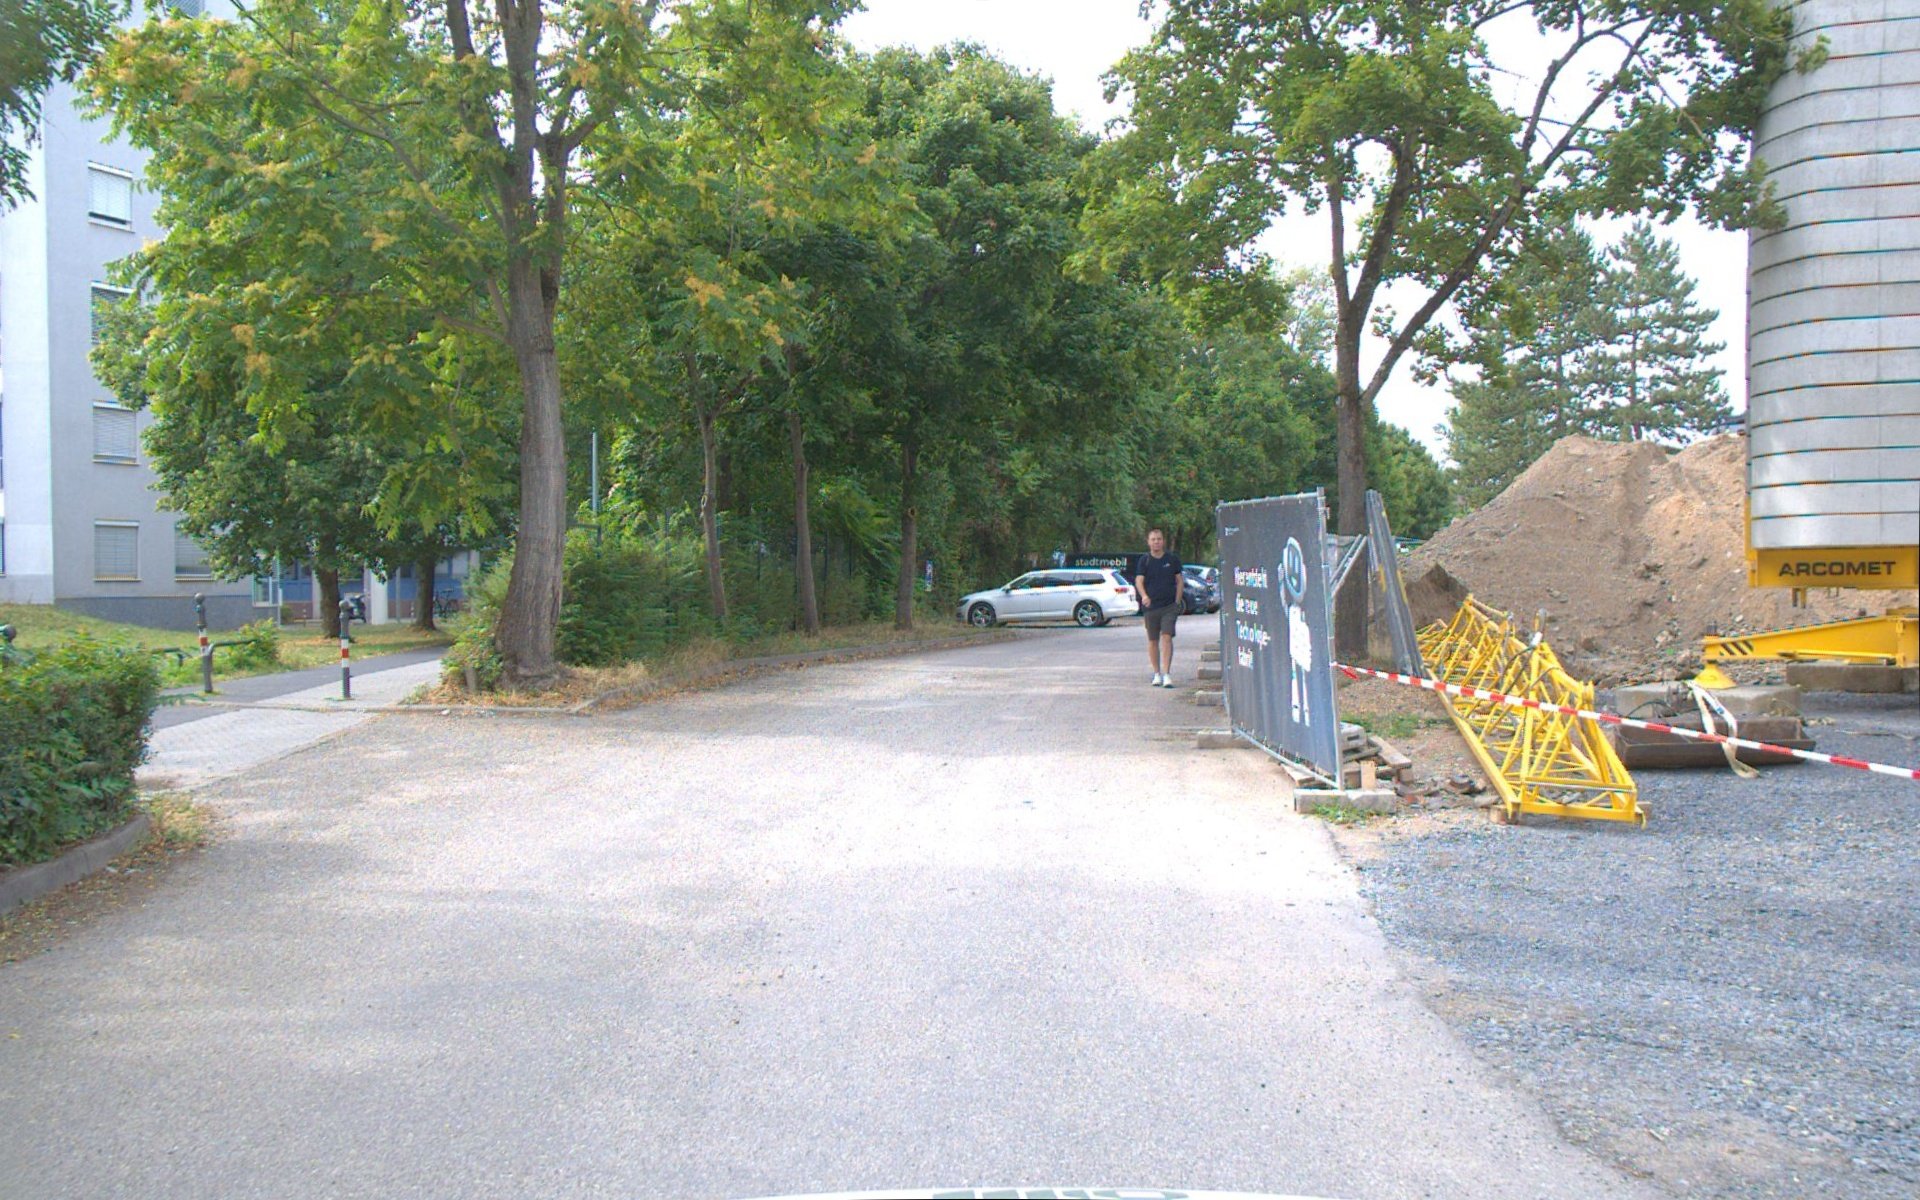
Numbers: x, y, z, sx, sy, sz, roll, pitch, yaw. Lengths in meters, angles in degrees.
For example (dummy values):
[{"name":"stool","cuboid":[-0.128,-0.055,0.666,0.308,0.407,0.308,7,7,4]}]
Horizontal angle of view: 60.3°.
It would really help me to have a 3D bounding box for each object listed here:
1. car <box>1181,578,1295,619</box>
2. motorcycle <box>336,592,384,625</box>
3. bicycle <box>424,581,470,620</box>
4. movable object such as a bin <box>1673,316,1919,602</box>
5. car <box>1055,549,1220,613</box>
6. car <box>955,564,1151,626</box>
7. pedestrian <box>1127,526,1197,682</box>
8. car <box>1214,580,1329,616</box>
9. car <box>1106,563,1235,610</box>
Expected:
[{"name":"car","cuboid":[10.899,-0.059,64.784,4.242,1.570,1.755,0,1,15]},{"name":"motorcycle","cuboid":[-24.428,0.337,67.367,0.652,1.313,2.148,0,1,19]},{"name":"bicycle","cuboid":[-16.018,0.005,51.658,0.636,1.202,1.902,0,1,8]},{"name":"movable object such as a bin","cuboid":[23.130,-3.483,44.715,3.789,6.785,10.921,1,2,42]},{"name":"car","cuboid":[5.714,-0.604,53.111,4.940,1.987,2.001,0,1,19]},{"name":"car","cuboid":[2.386,-0.149,42.210,4.690,1.514,2.002,0,1,15]},{"name":"pedestrian","cuboid":[2.427,0.038,19.846,0.732,1.821,0.731,0,1,16]},{"name":"car","cuboid":[13.292,-0.102,70.445,4.690,1.514,2.002,0,1,15]},{"name":"car","cuboid":[7.134,-0.465,56.049,3.910,1.527,1.929,0,1,28]}]
